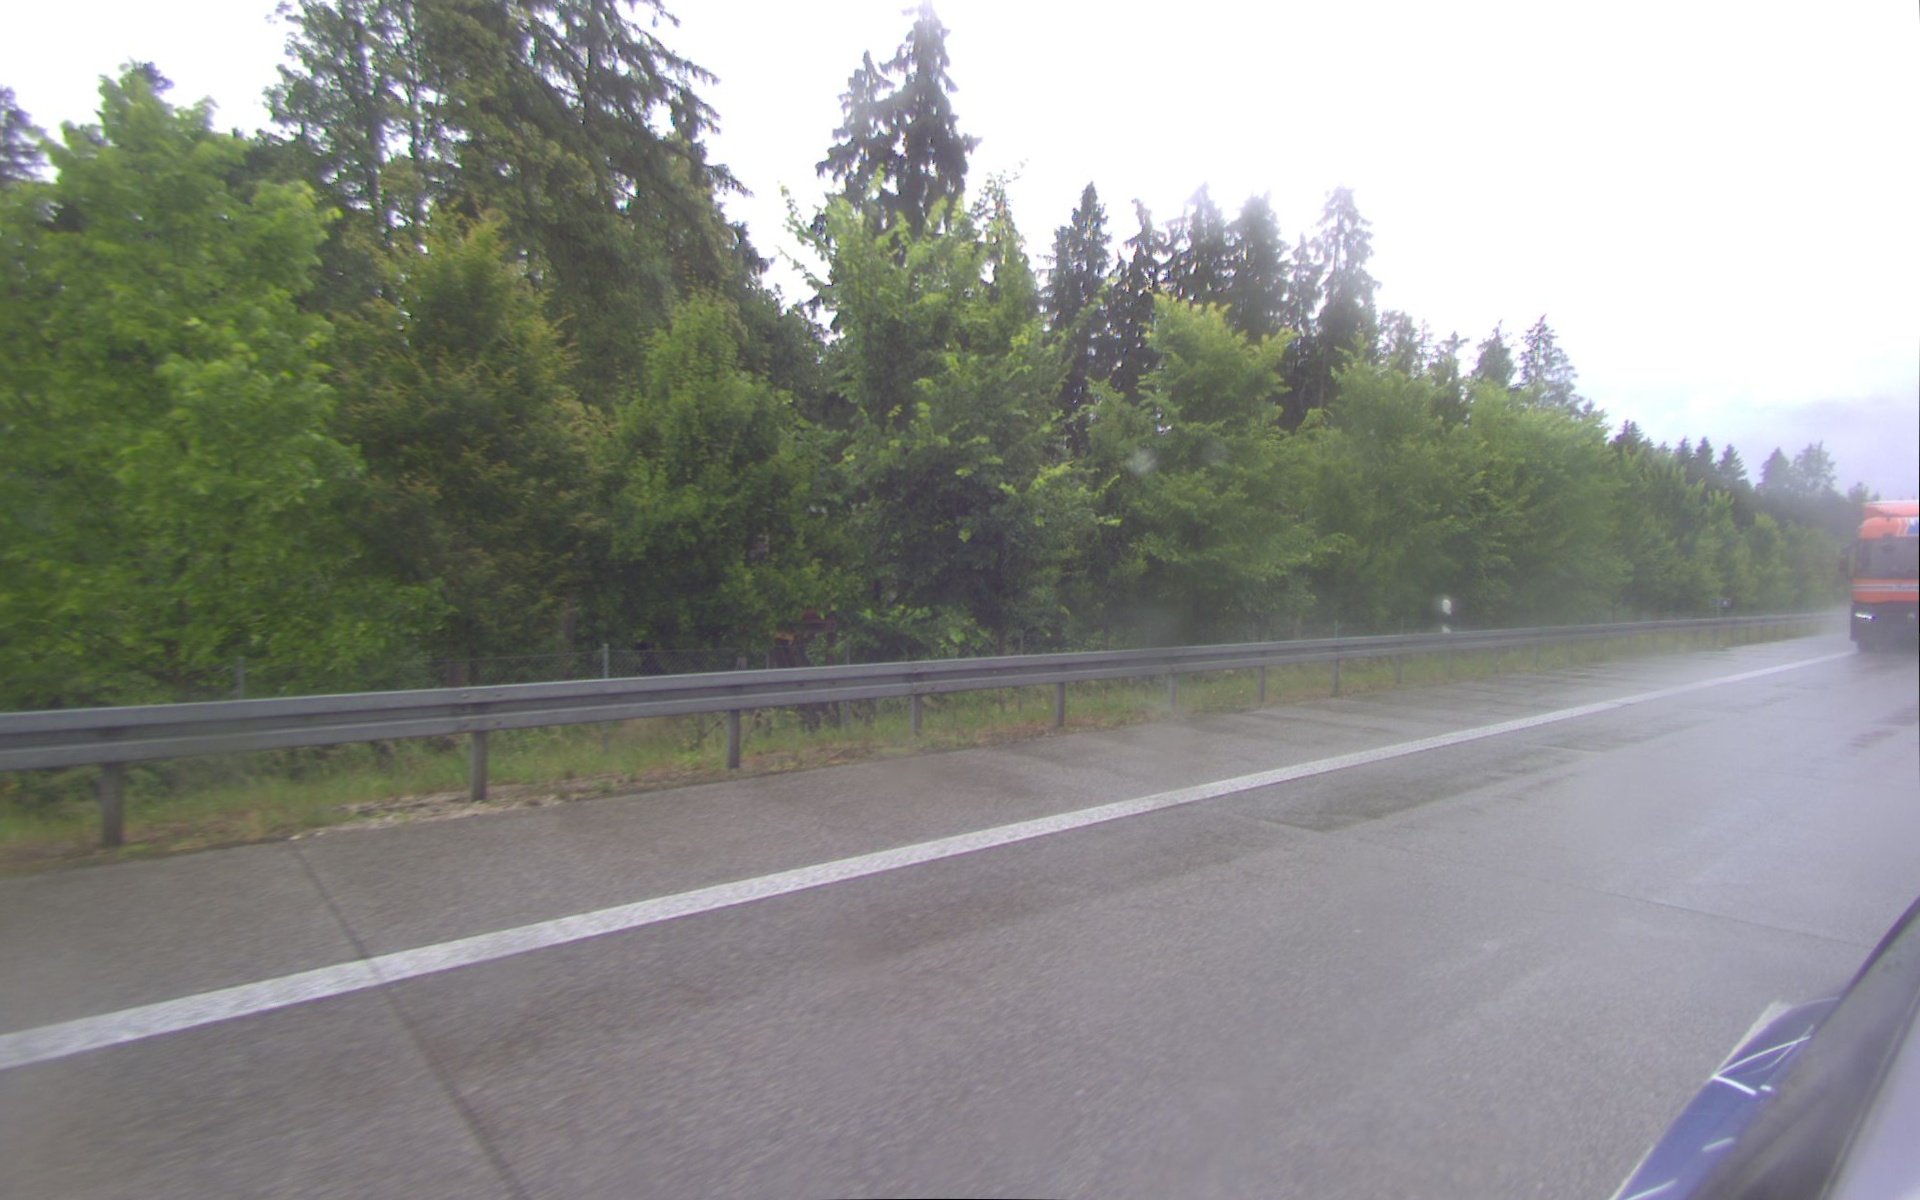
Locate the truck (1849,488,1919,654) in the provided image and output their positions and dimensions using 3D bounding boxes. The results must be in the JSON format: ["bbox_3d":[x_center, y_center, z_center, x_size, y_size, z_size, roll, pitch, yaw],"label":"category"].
[{"bbox_3d":[26.027,-0.719,26.876,5.341,4.138,2.765,0,3,-41],"label":"truck"}]

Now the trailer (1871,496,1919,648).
[{"bbox_3d":[31.725,-0.734,31.857,12.776,4.207,2.801,0,3,-41],"label":"trailer"}]
